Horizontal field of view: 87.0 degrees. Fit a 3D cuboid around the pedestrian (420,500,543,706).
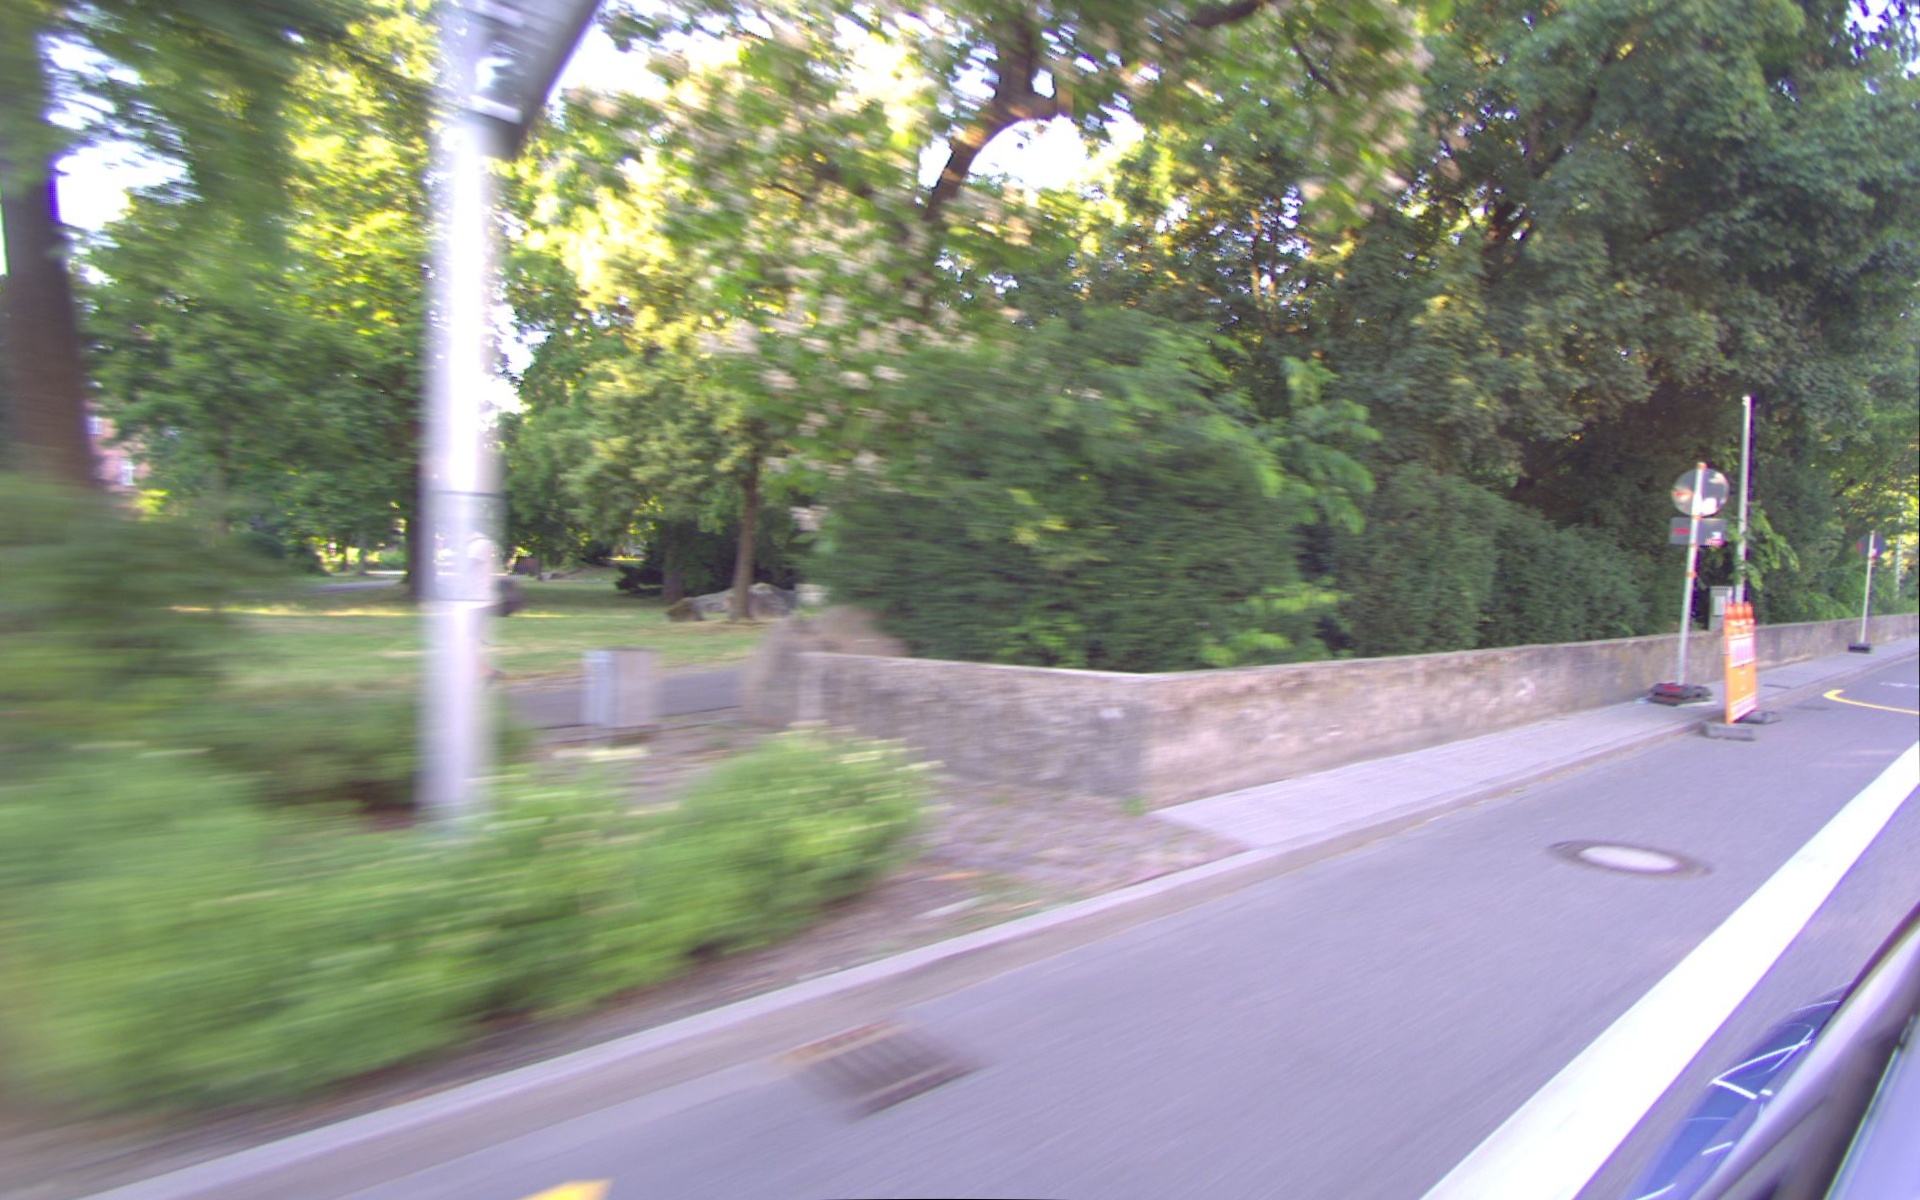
[{"bbox_3d":[-4.568,0.010,9.672,0.790,1.855,0.763,2,1,35],"label":"pedestrian"}]
